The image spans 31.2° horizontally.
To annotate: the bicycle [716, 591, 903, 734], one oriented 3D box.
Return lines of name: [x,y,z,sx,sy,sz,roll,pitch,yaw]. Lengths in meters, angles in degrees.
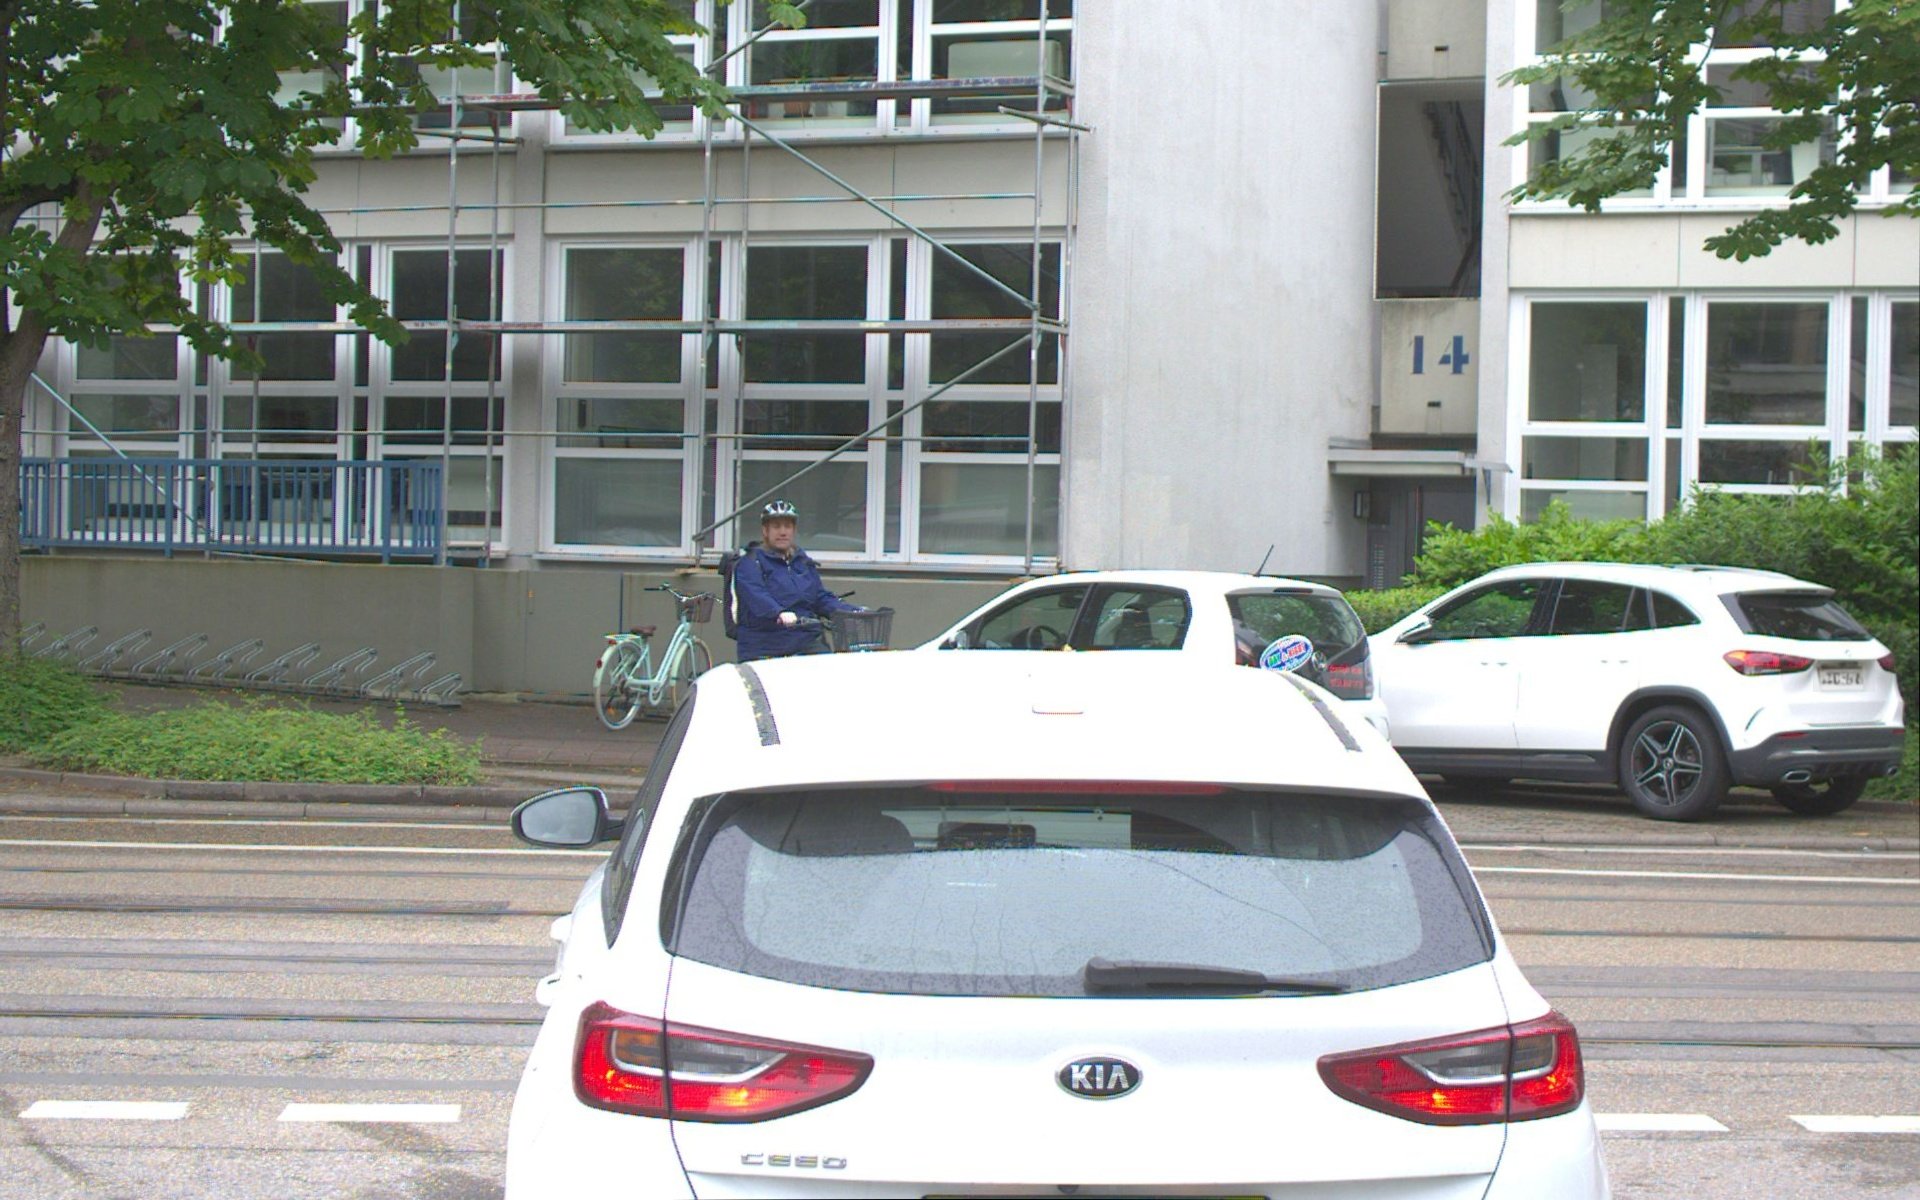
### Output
bicycle: [-1.175,0.473,27.476,0.645,1.071,2.309,2,1,20]

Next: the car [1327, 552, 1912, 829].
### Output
car: [4.189,0.519,22.135,1.552,1.612,3.406,0,1,-44]

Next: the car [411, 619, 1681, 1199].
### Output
car: [0.069,0.833,6.814,1.775,1.427,3.979,0,2,-1]

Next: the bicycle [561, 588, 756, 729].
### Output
bicycle: [-2.427,0.450,27.967,0.645,1.071,2.309,2,1,20]

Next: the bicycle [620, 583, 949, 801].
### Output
bicycle: [-1.048,0.513,20.151,1.914,1.170,0.819,2,1,44]

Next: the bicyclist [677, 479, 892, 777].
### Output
bicyclist: [-1.028,0.151,20.131,0.896,1.692,0.832,2,1,45]

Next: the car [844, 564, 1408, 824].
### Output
car: [0.992,0.534,21.705,1.552,1.468,3.406,0,1,-44]
